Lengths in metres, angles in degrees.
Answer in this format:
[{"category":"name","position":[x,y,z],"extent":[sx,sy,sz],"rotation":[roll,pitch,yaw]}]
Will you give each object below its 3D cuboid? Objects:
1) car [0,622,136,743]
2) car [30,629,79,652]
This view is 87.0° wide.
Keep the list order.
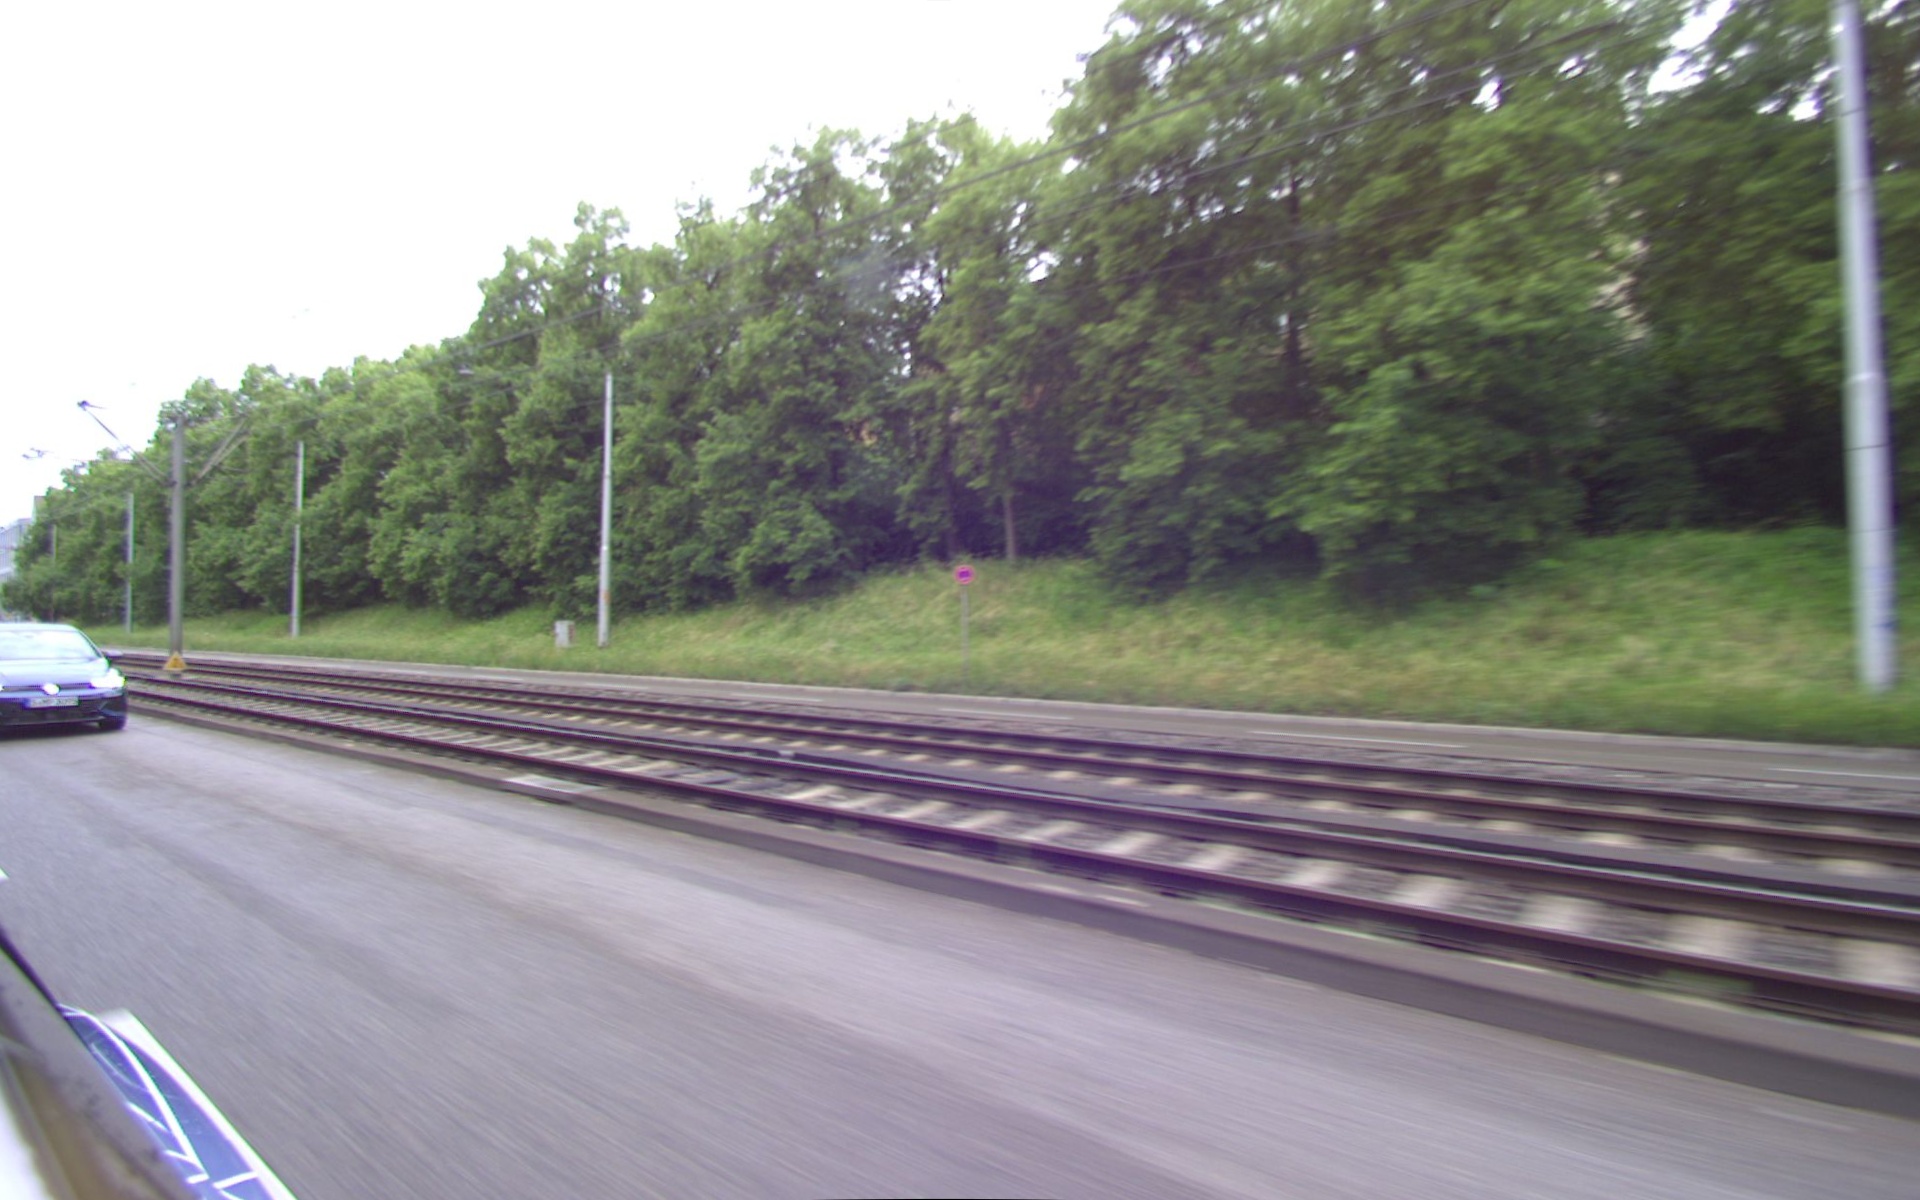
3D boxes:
[{"category":"car","position":[-12.837,1.048,13.806],"extent":[3.829,1.459,1.748],"rotation":[-2,-2,39]},{"category":"car","position":[-59.479,2.667,66.465],"extent":[4.022,1.454,1.653],"rotation":[-1,-4,39]}]
